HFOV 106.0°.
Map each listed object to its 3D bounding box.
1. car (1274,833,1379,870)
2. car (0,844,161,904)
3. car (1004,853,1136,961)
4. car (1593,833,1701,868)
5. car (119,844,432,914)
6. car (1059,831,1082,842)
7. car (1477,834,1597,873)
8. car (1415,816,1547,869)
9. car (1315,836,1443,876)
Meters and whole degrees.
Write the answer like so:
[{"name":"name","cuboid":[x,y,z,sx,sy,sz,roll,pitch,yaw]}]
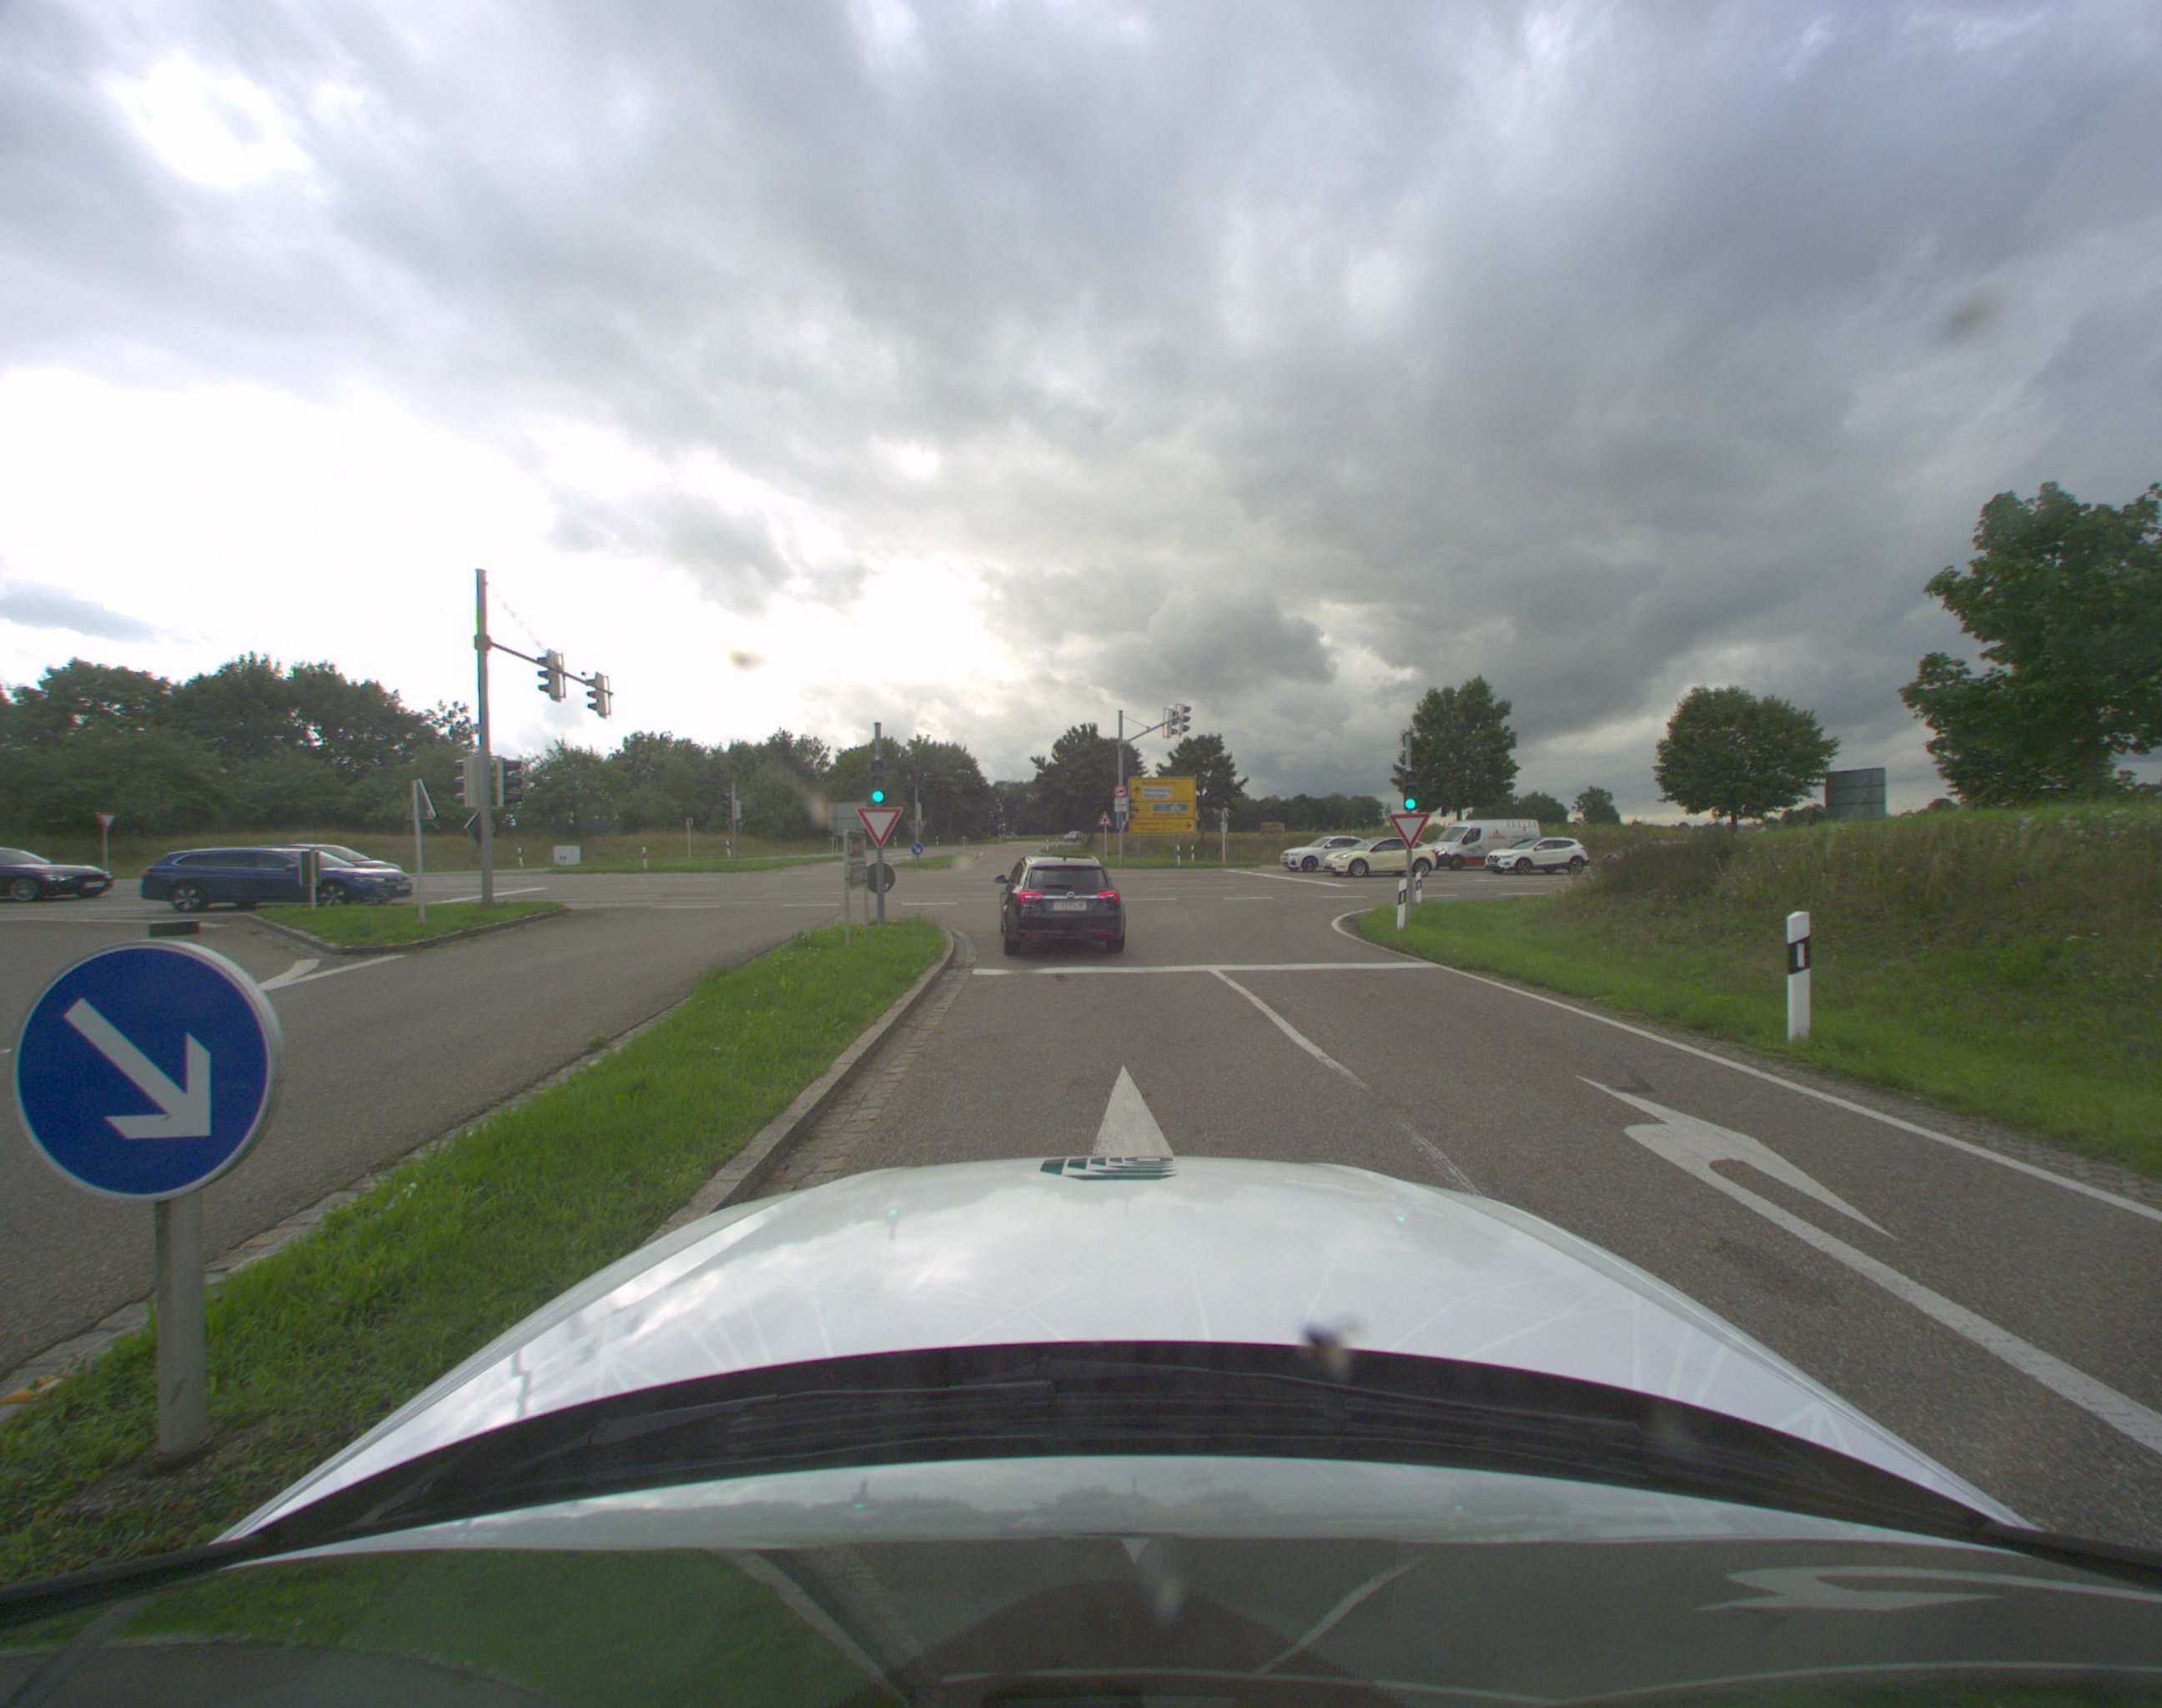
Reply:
[{"name":"car","cuboid":[11.383,-0.138,37.854,4.262,1.629,1.993,0,0,-11]},{"name":"car","cuboid":[-28.764,0.520,21.993,4.869,1.483,2.047,0,2,-12]},{"name":"car","cuboid":[-0.346,0.726,13.416,1.805,1.450,4.264,0,0,-6]},{"name":"car","cuboid":[28.136,-0.183,40.542,4.261,1.629,1.993,0,0,-11]},{"name":"car","cuboid":[-19.574,0.554,20.103,5.115,1.534,2.043,0,1,-13]},{"name":"car","cuboid":[-1.435,-2.366,112.375,1.977,1.535,4.020,0,1,20]},{"name":"car","cuboid":[19.921,-0.031,35.642,4.309,1.629,1.993,0,0,-10]},{"name":"car","cuboid":[19.470,-0.559,39.754,5.495,2.441,2.390,0,0,-10]},{"name":"car","cuboid":[12.427,0.063,34.074,4.734,1.564,1.993,0,0,-11]}]
